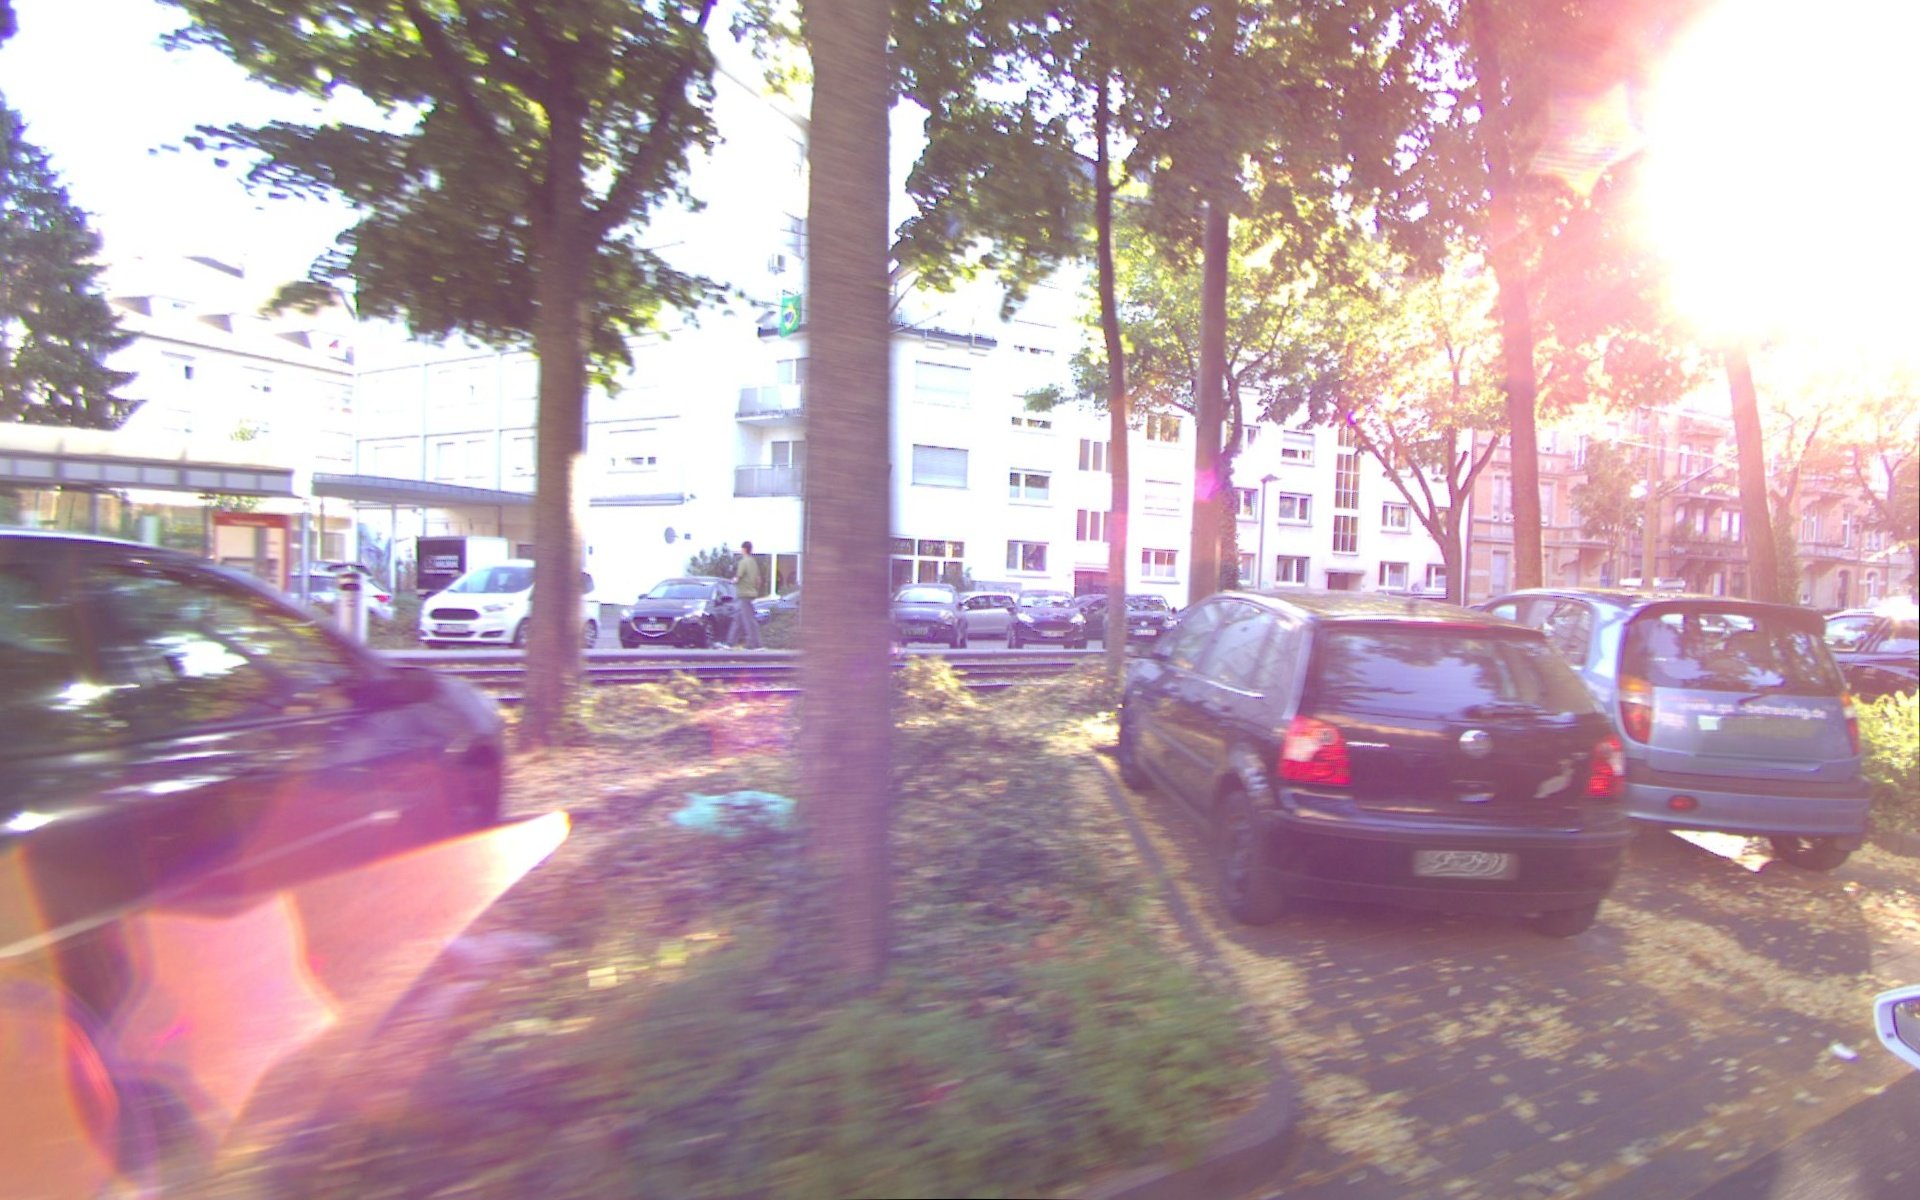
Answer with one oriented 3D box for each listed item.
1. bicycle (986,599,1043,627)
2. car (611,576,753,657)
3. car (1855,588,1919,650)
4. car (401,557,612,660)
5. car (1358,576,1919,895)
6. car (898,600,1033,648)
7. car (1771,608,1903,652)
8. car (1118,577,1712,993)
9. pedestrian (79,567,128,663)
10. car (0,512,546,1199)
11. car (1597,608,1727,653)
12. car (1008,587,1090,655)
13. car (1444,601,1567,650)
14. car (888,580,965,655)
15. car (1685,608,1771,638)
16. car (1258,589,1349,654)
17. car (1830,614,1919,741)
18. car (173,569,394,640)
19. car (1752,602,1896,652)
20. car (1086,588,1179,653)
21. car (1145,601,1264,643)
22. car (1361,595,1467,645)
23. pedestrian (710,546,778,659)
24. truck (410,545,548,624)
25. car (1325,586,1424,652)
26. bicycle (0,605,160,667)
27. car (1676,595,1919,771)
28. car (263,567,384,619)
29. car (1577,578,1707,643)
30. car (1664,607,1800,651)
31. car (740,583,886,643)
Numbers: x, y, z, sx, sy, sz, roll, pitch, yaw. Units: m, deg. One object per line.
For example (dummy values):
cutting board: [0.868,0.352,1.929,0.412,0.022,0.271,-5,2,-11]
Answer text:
bicycle: [2.083,0.495,38.142,2.146,1.016,0.530,1,1,-25]
car: [-5.456,0.398,20.264,1.667,1.455,4.207,0,-3,0]
car: [41.456,0.833,42.705,2.227,2.605,5.272,0,-3,3]
car: [-8.129,0.243,18.489,1.575,1.674,4.245,0,-3,6]
car: [4.449,0.702,7.270,1.576,1.584,3.617,2,3,-1]
car: [0.182,0.761,31.927,3.943,1.465,1.707,1,0,-23]
car: [35.878,1.272,41.257,1.820,1.721,4.244,0,-3,3]
car: [2.042,0.689,5.693,1.576,1.467,3.617,2,3,-2]
pedestrian: [-11.938,0.203,14.007,0.446,1.319,0.335,1,1,-28]
car: [-2.682,0.528,2.813,1.576,1.541,3.734,2,3,-2]
car: [24.929,1.129,35.862,1.820,1.492,4.244,0,-3,3]
car: [2.047,0.563,24.083,1.576,1.477,4.242,0,-3,0]
car: [17.446,0.874,32.383,1.820,1.492,4.244,0,-3,3]
car: [-0.695,0.463,22.656,1.576,1.527,4.242,0,-3,0]
car: [38.772,1.170,50.692,3.943,1.465,1.707,1,0,-23]
car: [9.470,0.660,27.973,1.820,1.673,4.245,0,-3,11]
car: [12.190,1.046,10.999,1.705,1.410,3.825,3,3,-5]
car: [-14.947,0.123,22.490,3.953,1.465,1.702,1,0,-30]
car: [31.744,1.045,37.086,1.820,1.721,4.244,0,-3,3]
car: [4.235,0.583,25.197,1.576,1.477,4.242,0,-3,0]
car: [8.804,0.792,36.194,3.943,1.465,1.707,1,0,-23]
car: [18.490,0.802,40.879,3.943,1.958,1.707,1,0,-23]
pedestrian: [-3.826,0.036,17.759,0.832,1.936,0.840,1,1,-43]
truck: [-16.946,-0.576,35.351,4.884,2.569,1.996,2,1,31]
car: [11.871,0.615,29.027,1.820,1.772,4.245,0,-3,11]
bicycle: [-11.898,0.478,13.577,1.622,0.794,0.447,1,1,-27]
car: [9.947,0.860,10.614,1.705,1.517,3.825,3,3,-5]
car: [-20.974,-0.253,33.067,3.933,1.553,1.994,2,1,35]
car: [32.149,0.523,47.364,5.402,2.926,2.547,1,0,-23]
car: [27.785,1.099,36.347,1.820,1.492,4.244,0,-3,3]
car: [-4.328,0.389,29.698,3.949,1.695,1.704,1,0,-28]
